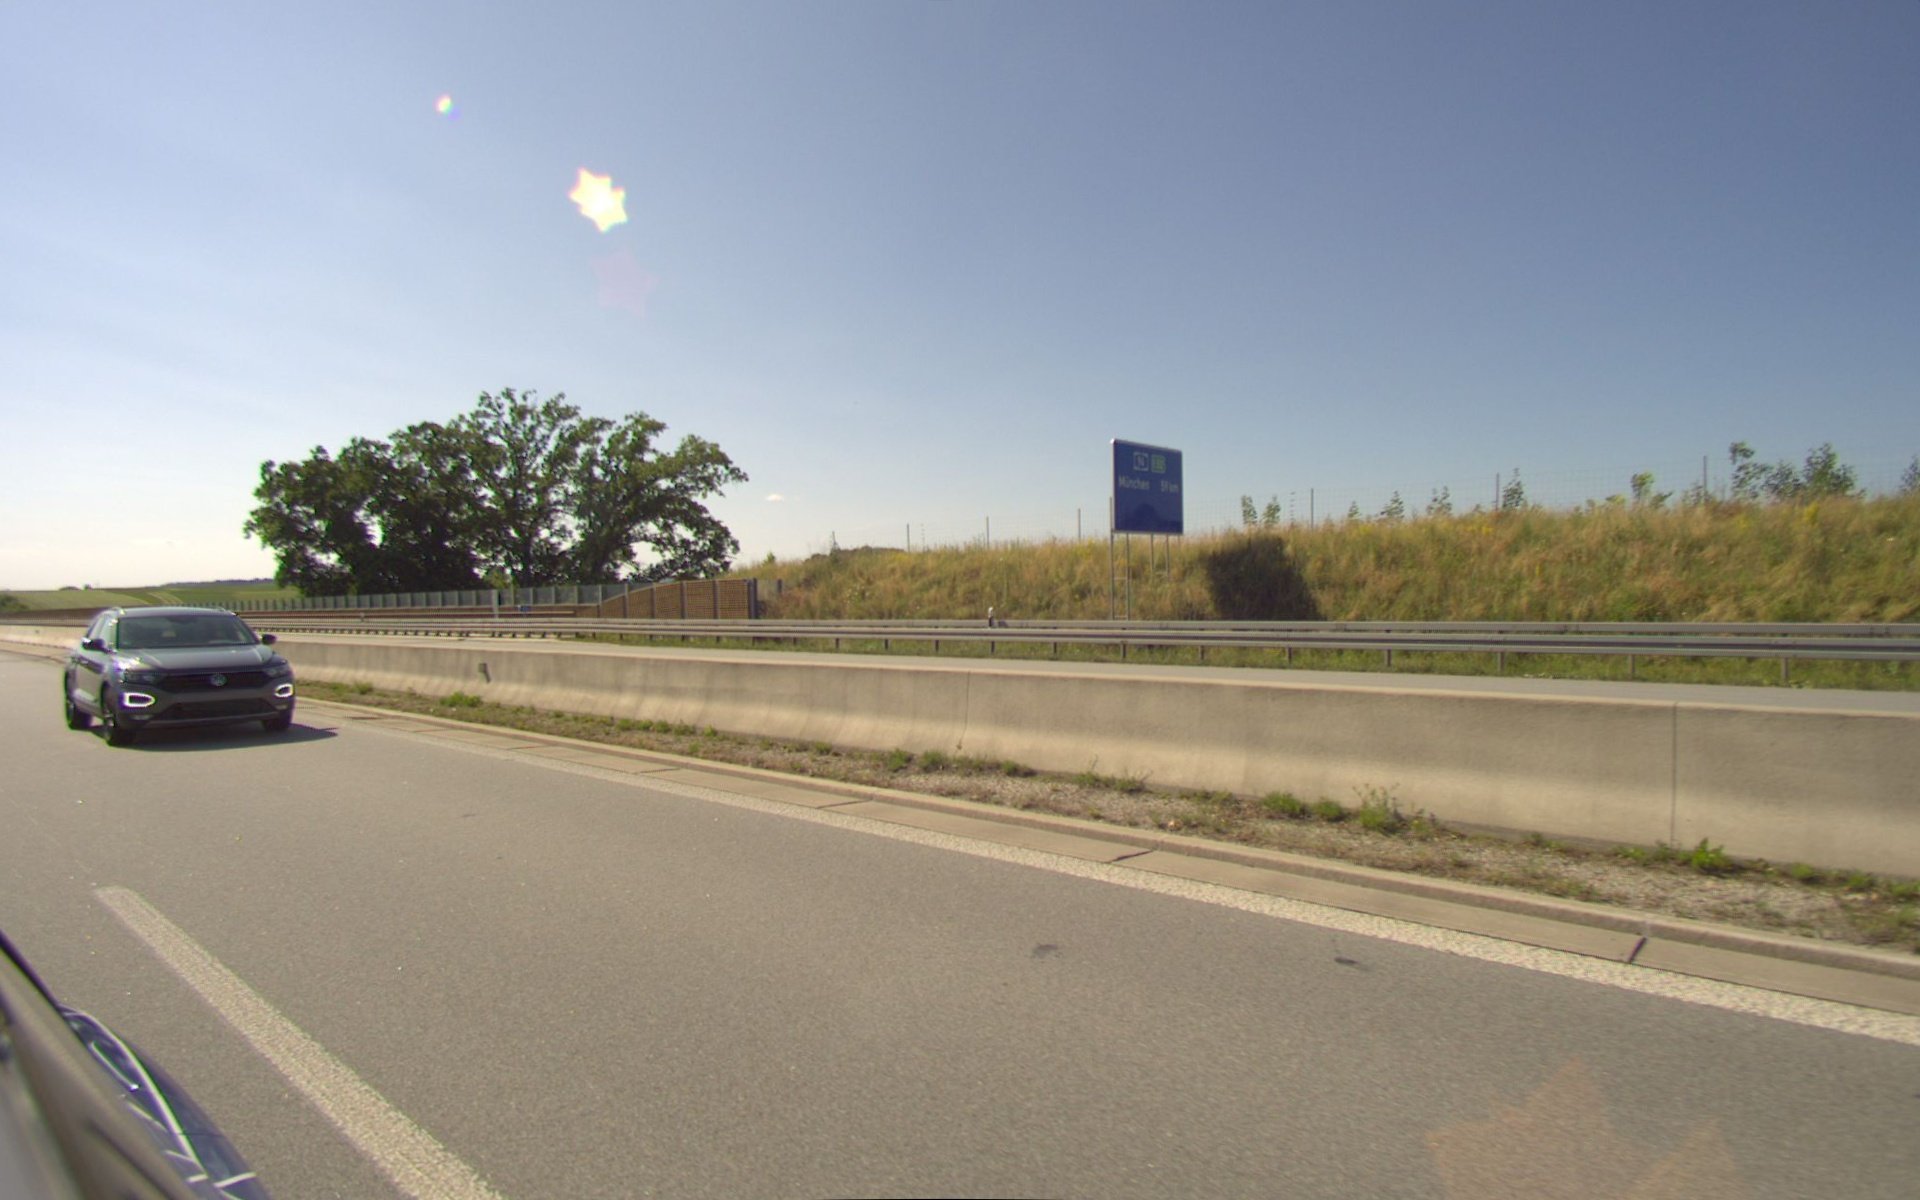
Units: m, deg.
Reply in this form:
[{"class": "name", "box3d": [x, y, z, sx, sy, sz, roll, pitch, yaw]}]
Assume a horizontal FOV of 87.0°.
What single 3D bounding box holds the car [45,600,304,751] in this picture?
[{"class": "car", "box3d": [-10.242, 0.831, 13.033, 4.986, 1.581, 1.753, -1, 0, 42]}]
